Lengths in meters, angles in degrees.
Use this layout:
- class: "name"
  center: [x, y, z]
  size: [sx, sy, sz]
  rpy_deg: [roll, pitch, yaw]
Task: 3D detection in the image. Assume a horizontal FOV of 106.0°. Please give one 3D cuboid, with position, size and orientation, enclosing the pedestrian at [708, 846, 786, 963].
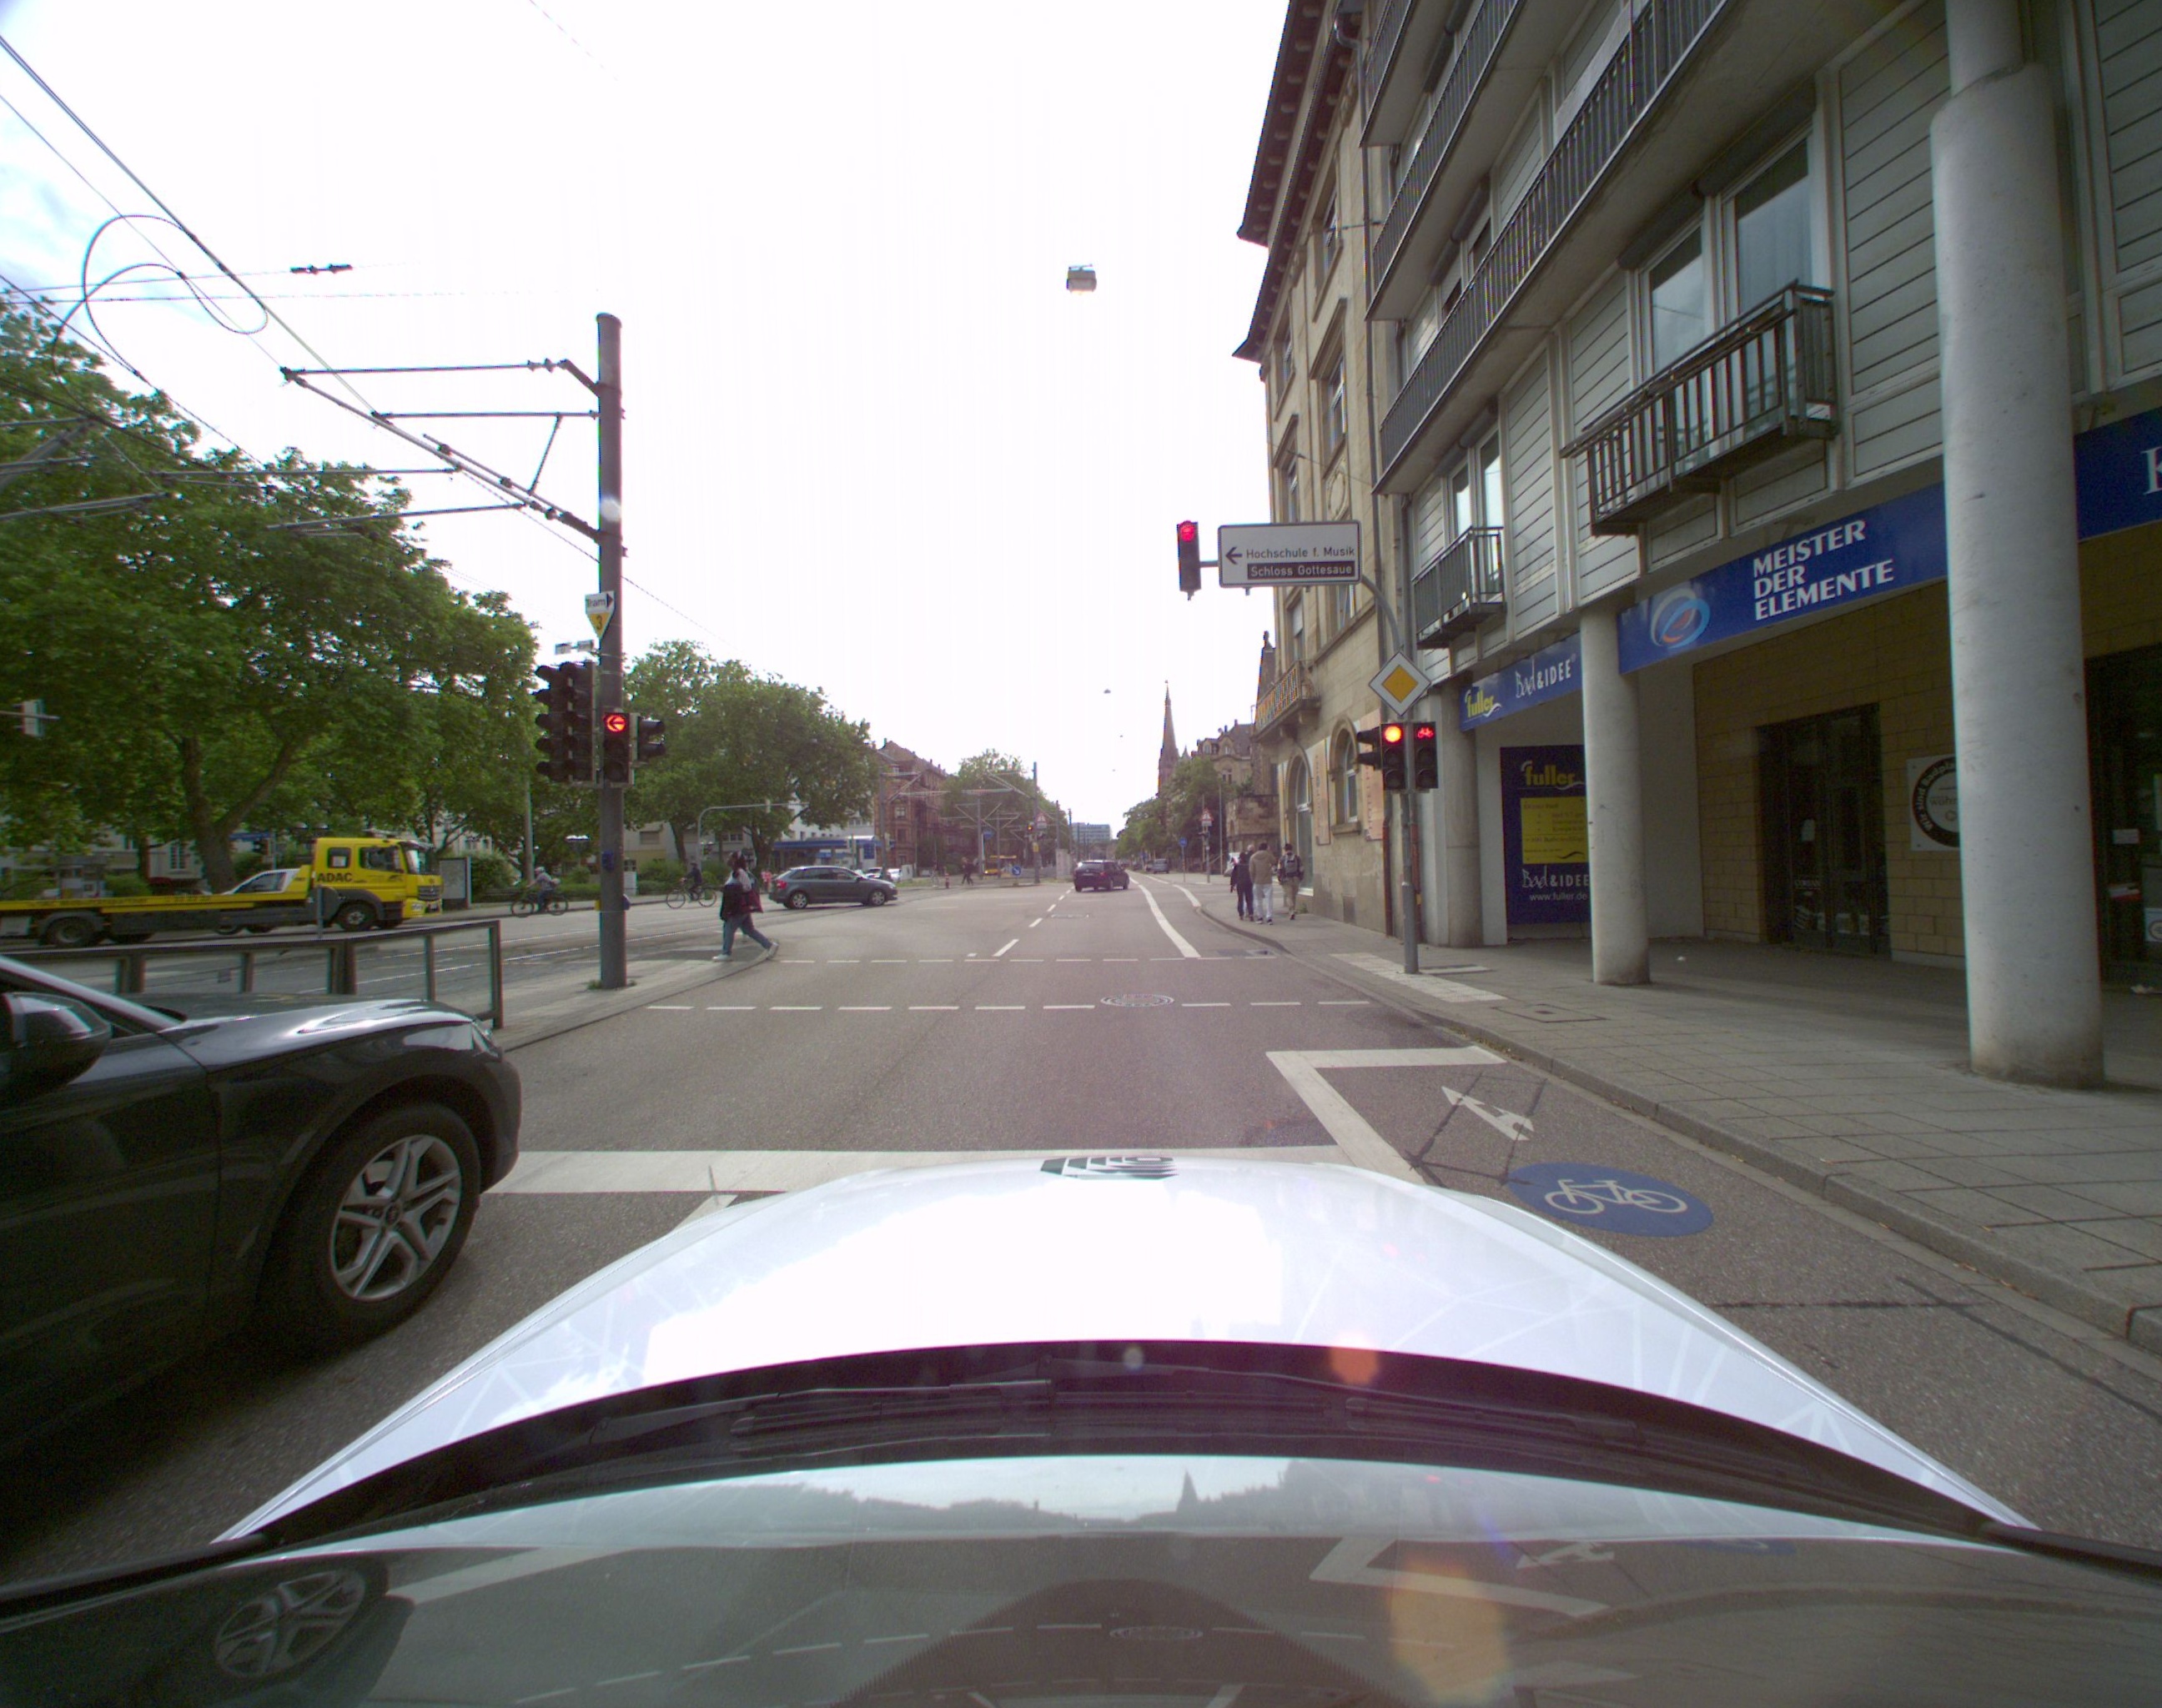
- class: "pedestrian"
  center: [-5.017, 0.737, 12.240]
  size: [0.663, 1.680, 0.874]
  rpy_deg: [-1, -1, 40]

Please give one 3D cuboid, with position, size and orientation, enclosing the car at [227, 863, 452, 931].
- class: "car"
  center: [-23.382, 1.292, 25.970]
  size: [4.886, 1.967, 1.973]
  rpy_deg: [0, -1, -24]

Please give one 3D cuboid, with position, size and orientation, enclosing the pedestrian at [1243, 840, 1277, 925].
- class: "pedestrian"
  center: [3.924, 0.607, 17.846]
  size: [0.578, 1.813, 1.020]
  rpy_deg: [0, -1, 21]

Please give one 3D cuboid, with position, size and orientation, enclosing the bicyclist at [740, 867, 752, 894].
- class: "bicyclist"
  center: [-22.651, 1.795, 55.086]
  size: [0.528, 1.784, 0.472]
  rpy_deg: [-1, -1, 21]

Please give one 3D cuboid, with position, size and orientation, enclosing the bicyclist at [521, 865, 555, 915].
- class: "bicyclist"
  center: [-20.284, 1.329, 30.431]
  size: [0.970, 1.819, 0.527]
  rpy_deg: [0, -1, -27]

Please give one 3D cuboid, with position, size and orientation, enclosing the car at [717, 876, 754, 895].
- class: "car"
  center: [-29.928, 2.723, 70.637]
  size: [1.892, 1.557, 3.828]
  rpy_deg: [0, -1, -6]

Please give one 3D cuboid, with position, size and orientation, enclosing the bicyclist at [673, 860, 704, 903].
- class: "bicyclist"
  center: [-15.793, 1.086, 32.763]
  size: [1.041, 1.683, 0.641]
  rpy_deg: [0, -1, -19]

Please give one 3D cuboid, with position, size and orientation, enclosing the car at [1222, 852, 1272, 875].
- class: "car"
  center: [13.866, 0.784, 68.147]
  size: [3.785, 1.904, 2.001]
  rpy_deg: [0, -1, 1]

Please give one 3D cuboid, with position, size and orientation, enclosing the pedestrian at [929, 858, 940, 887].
- class: "pedestrian"
  center: [-8.945, 1.131, 49.747]
  size: [0.571, 1.794, 0.518]
  rpy_deg: [0, -1, -3]

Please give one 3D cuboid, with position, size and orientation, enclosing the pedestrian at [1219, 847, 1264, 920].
- class: "pedestrian"
  center: [3.778, 0.675, 19.157]
  size: [0.620, 1.653, 1.003]
  rpy_deg: [-1, -1, 39]

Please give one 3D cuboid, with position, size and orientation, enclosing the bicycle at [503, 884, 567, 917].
- class: "bicycle"
  center: [-20.341, 1.731, 30.366]
  size: [1.910, 1.142, 0.623]
  rpy_deg: [0, -1, -28]

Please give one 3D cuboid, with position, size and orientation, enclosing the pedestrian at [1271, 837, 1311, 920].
- class: "pedestrian"
  center: [4.739, 0.539, 18.430]
  size: [0.622, 1.778, 1.137]
  rpy_deg: [-4, -2, 9]

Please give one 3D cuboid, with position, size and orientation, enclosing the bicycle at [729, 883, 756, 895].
- class: "bicycle"
  center: [-22.916, 2.371, 55.095]
  size: [1.665, 0.773, 0.659]
  rpy_deg: [-1, -1, 22]

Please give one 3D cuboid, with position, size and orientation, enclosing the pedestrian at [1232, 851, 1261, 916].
- class: "pedestrian"
  center: [4.154, 0.737, 20.512]
  size: [0.696, 1.593, 0.833]
  rpy_deg: [0, -1, 10]

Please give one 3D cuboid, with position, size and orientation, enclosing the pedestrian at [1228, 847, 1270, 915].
- class: "pedestrian"
  center: [4.486, 0.713, 21.762]
  size: [0.906, 1.784, 0.651]
  rpy_deg: [-1, -1, 39]

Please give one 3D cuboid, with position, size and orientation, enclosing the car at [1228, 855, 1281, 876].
- class: "car"
  center: [13.755, 0.894, 64.735]
  size: [3.785, 1.601, 2.001]
  rpy_deg: [0, -1, 1]

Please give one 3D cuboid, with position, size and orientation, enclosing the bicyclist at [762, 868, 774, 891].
- class: "bicyclist"
  center: [-21.500, 1.743, 55.986]
  size: [0.585, 1.568, 0.619]
  rpy_deg: [0, -1, 1]

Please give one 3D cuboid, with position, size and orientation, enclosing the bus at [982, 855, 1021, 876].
- class: "bus"
  center: [-12.901, 1.867, 133.204]
  size: [3.066, 3.112, 13.126]
  rpy_deg: [0, -1, 9]

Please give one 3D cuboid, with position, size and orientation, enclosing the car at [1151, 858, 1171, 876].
- class: "car"
  center: [8.814, 1.437, 90.041]
  size: [1.986, 2.014, 4.001]
  rpy_deg: [0, -1, 1]

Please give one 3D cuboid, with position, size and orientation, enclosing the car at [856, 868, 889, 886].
- class: "car"
  center: [-18.628, 2.002, 72.884]
  size: [1.887, 1.557, 3.837]
  rpy_deg: [0, -1, 2]

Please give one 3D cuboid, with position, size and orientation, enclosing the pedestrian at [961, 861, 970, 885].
- class: "pedestrian"
  center: [-7.445, 1.234, 52.500]
  size: [0.544, 1.537, 0.465]
  rpy_deg: [0, -1, -3]

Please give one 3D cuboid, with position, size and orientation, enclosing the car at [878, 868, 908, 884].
- class: "car"
  center: [-18.358, 2.127, 79.752]
  size: [1.887, 1.557, 3.837]
  rpy_deg: [0, -1, 2]

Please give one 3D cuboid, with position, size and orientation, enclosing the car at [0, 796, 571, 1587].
- class: "car"
  center: [-3.143, 0.694, 1.273]
  size: [1.873, 1.601, 4.358]
  rpy_deg: [-1, -1, 1]

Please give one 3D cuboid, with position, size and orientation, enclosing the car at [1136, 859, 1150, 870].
- class: "car"
  center: [9.724, 1.683, 128.446]
  size: [1.986, 1.607, 4.165]
  rpy_deg: [-3, -1, 1]

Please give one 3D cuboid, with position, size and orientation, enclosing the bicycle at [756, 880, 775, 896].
- class: "bicycle"
  center: [-21.532, 2.326, 55.592]
  size: [0.520, 1.017, 1.937]
  rpy_deg: [0, -1, 2]

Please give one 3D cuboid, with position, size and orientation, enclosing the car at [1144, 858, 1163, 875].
- class: "car"
  center: [8.832, 1.554, 99.633]
  size: [1.986, 2.014, 4.001]
  rpy_deg: [0, -1, 1]

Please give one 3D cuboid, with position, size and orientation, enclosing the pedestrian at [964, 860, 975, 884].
- class: "pedestrian"
  center: [-7.111, 1.168, 51.960]
  size: [0.651, 1.537, 0.465]
  rpy_deg: [0, -1, -3]

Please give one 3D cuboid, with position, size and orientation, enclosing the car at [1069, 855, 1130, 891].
- class: "car"
  center: [0.958, 0.880, 38.986]
  size: [1.792, 1.586, 4.360]
  rpy_deg: [-1, -1, 17]

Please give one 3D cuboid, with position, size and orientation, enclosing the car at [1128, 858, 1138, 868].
- class: "car"
  center: [10.992, 1.920, 172.331]
  size: [1.986, 2.014, 4.001]
  rpy_deg: [0, -1, 2]

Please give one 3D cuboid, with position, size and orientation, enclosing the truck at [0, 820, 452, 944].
- class: "truck"
  center: [-23.511, 0.647, 21.781]
  size: [10.193, 2.941, 2.616]
  rpy_deg: [0, -1, -24]

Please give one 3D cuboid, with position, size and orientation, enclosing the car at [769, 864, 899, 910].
- class: "car"
  center: [-8.515, 1.075, 28.092]
  size: [4.003, 1.469, 1.824]
  rpy_deg: [0, -1, -29]

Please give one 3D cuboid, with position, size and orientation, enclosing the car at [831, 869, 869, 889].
- class: "car"
  center: [-18.796, 2.051, 66.496]
  size: [1.887, 1.557, 3.837]
  rpy_deg: [0, -1, 2]

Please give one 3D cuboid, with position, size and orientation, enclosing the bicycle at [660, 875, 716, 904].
- class: "bicycle"
  center: [-15.787, 1.420, 32.781]
  size: [1.943, 1.136, 0.731]
  rpy_deg: [0, -1, -19]
